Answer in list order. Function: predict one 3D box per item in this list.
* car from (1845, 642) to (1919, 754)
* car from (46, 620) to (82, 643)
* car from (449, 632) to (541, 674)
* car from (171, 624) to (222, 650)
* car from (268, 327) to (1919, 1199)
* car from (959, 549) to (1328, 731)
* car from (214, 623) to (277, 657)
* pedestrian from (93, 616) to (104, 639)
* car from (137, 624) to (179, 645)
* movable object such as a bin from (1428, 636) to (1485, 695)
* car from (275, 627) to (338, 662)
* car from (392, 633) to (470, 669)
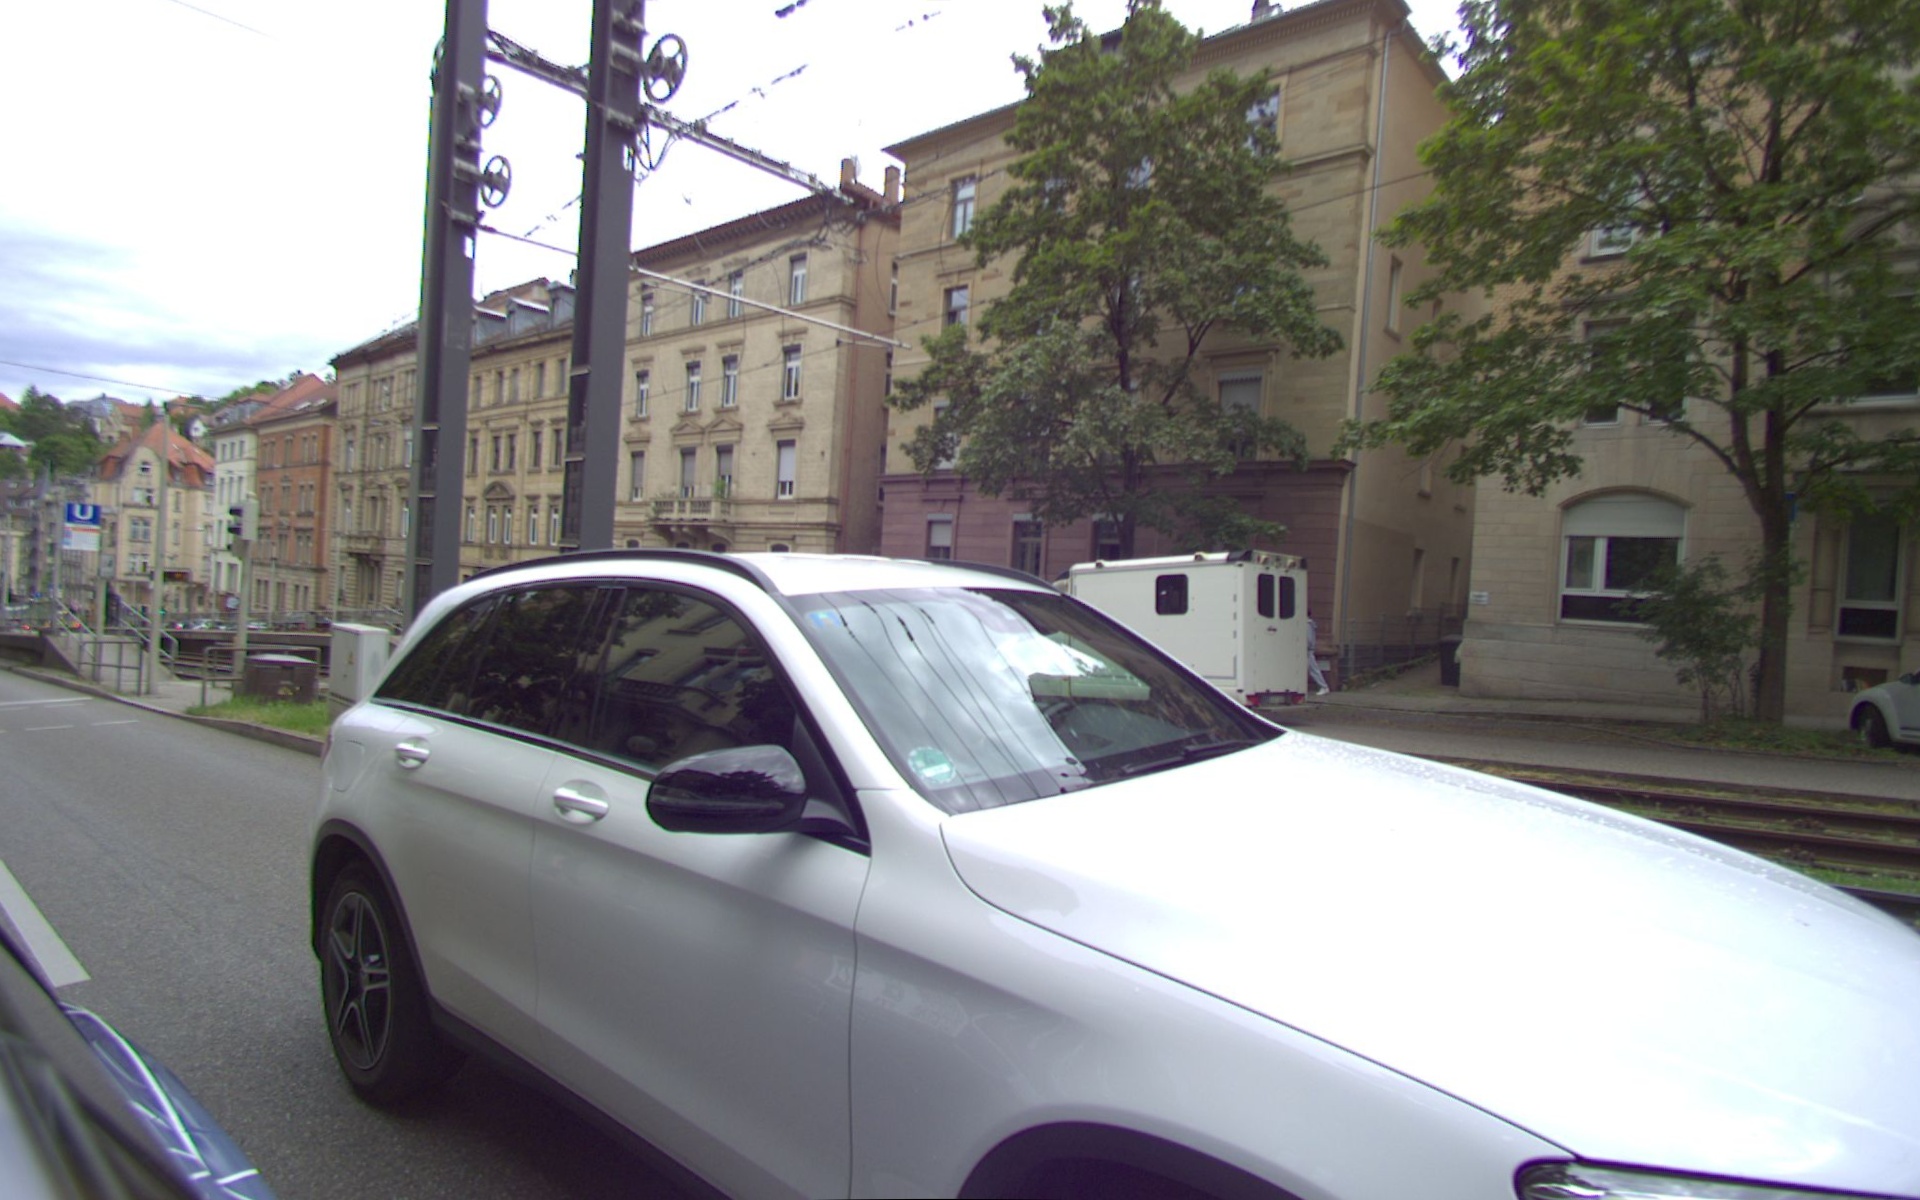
[{"bbox_3d":[13.097,1.250,12.210,1.766,1.433,3.988,0,-2,9],"label":"car"},{"bbox_3d":[-92.031,3.241,103.946,5.452,2.322,1.973,-1,-3,41],"label":"car"},{"bbox_3d":[-16.111,1.803,35.013,3.653,1.388,1.560,-1,-3,42],"label":"car"},{"bbox_3d":[-52.054,2.519,68.985,3.998,1.692,1.916,-2,-4,41],"label":"car"},{"bbox_3d":[-0.052,0.658,2.648,4.668,1.679,1.816,-1,-1,41],"label":"car"},{"bbox_3d":[3.054,0.734,18.416,2.363,2.720,6.527,5,-4,-41],"label":"car"},{"bbox_3d":[-38.306,2.133,54.211,4.575,1.749,1.691,-1,-3,42],"label":"car"},{"bbox_3d":[-59.091,1.878,69.412,0.540,1.574,0.457,-2,-3,40],"label":"pedestrian"},{"bbox_3d":[-62.785,2.715,79.236,3.998,1.540,1.858,-2,-4,41],"label":"car"},{"bbox_3d":[11.121,1.450,22.650,0.917,1.257,0.882,-2,-3,44],"label":"movable object such as a bin"},{"bbox_3d":[-36.366,2.460,56.318,4.136,1.874,1.829,-1,-3,41],"label":"car"},{"bbox_3d":[-23.423,2.237,44.739,4.217,1.458,1.660,-1,-4,42],"label":"car"}]
